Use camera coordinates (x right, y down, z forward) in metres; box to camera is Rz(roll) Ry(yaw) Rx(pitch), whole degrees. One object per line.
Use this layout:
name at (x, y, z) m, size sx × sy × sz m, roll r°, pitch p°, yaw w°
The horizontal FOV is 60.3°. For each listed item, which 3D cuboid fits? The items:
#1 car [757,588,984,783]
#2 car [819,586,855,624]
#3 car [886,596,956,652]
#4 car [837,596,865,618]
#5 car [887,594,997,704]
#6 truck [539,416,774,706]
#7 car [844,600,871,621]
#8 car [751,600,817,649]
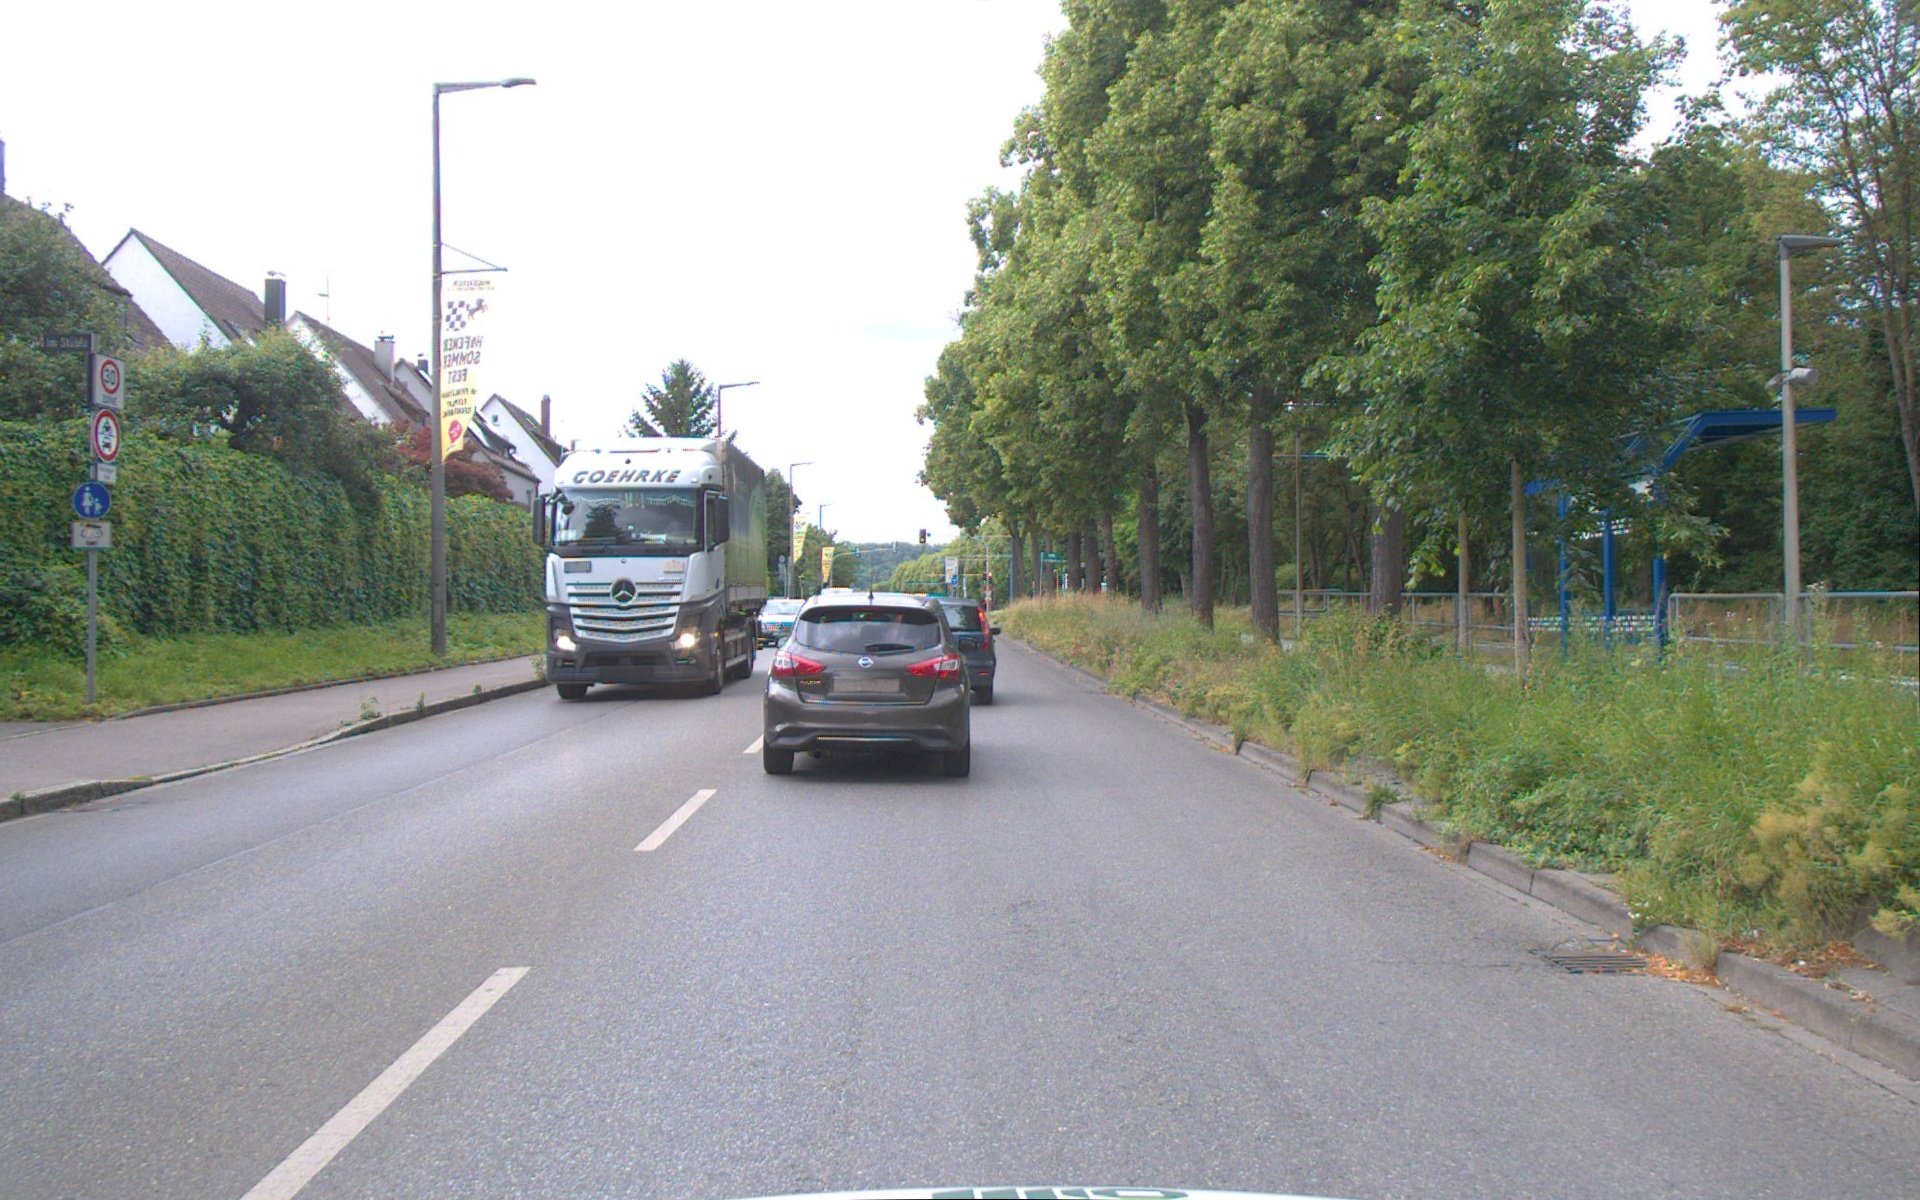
car at (-0.754, 0.669, 15.341) m, size 1.798 × 1.545 × 4.481 m, roll 0°, pitch 0°, yaw -1°
car at (-6.574, 0.255, 88.752) m, size 1.869 × 1.966 × 4.908 m, roll 0°, pitch 0°, yaw -3°
car at (-1.028, 0.609, 43.903) m, size 1.756 × 1.421 × 3.999 m, roll 0°, pitch 0°, yaw -1°
car at (-6.927, 0.441, 105.654) m, size 1.617 × 1.371 × 4.476 m, roll -1°, pitch 0°, yaw -2°
car at (-0.284, 0.674, 24.756) m, size 1.507 × 1.504 × 3.763 m, roll 0°, pitch 0°, yaw -1°
truck at (-4.991, -0.538, 29.299) m, size 2.499 × 4.114 × 10.614 m, roll -2°, pitch 0°, yaw -2°
car at (-7.323, 0.732, 118.049) m, size 1.848 × 1.407 × 4.488 m, roll -1°, pitch 0°, yaw -3°
car at (-5.407, 0.733, 51.175) m, size 1.698 × 1.399 × 4.238 m, roll -1°, pitch 0°, yaw -2°
